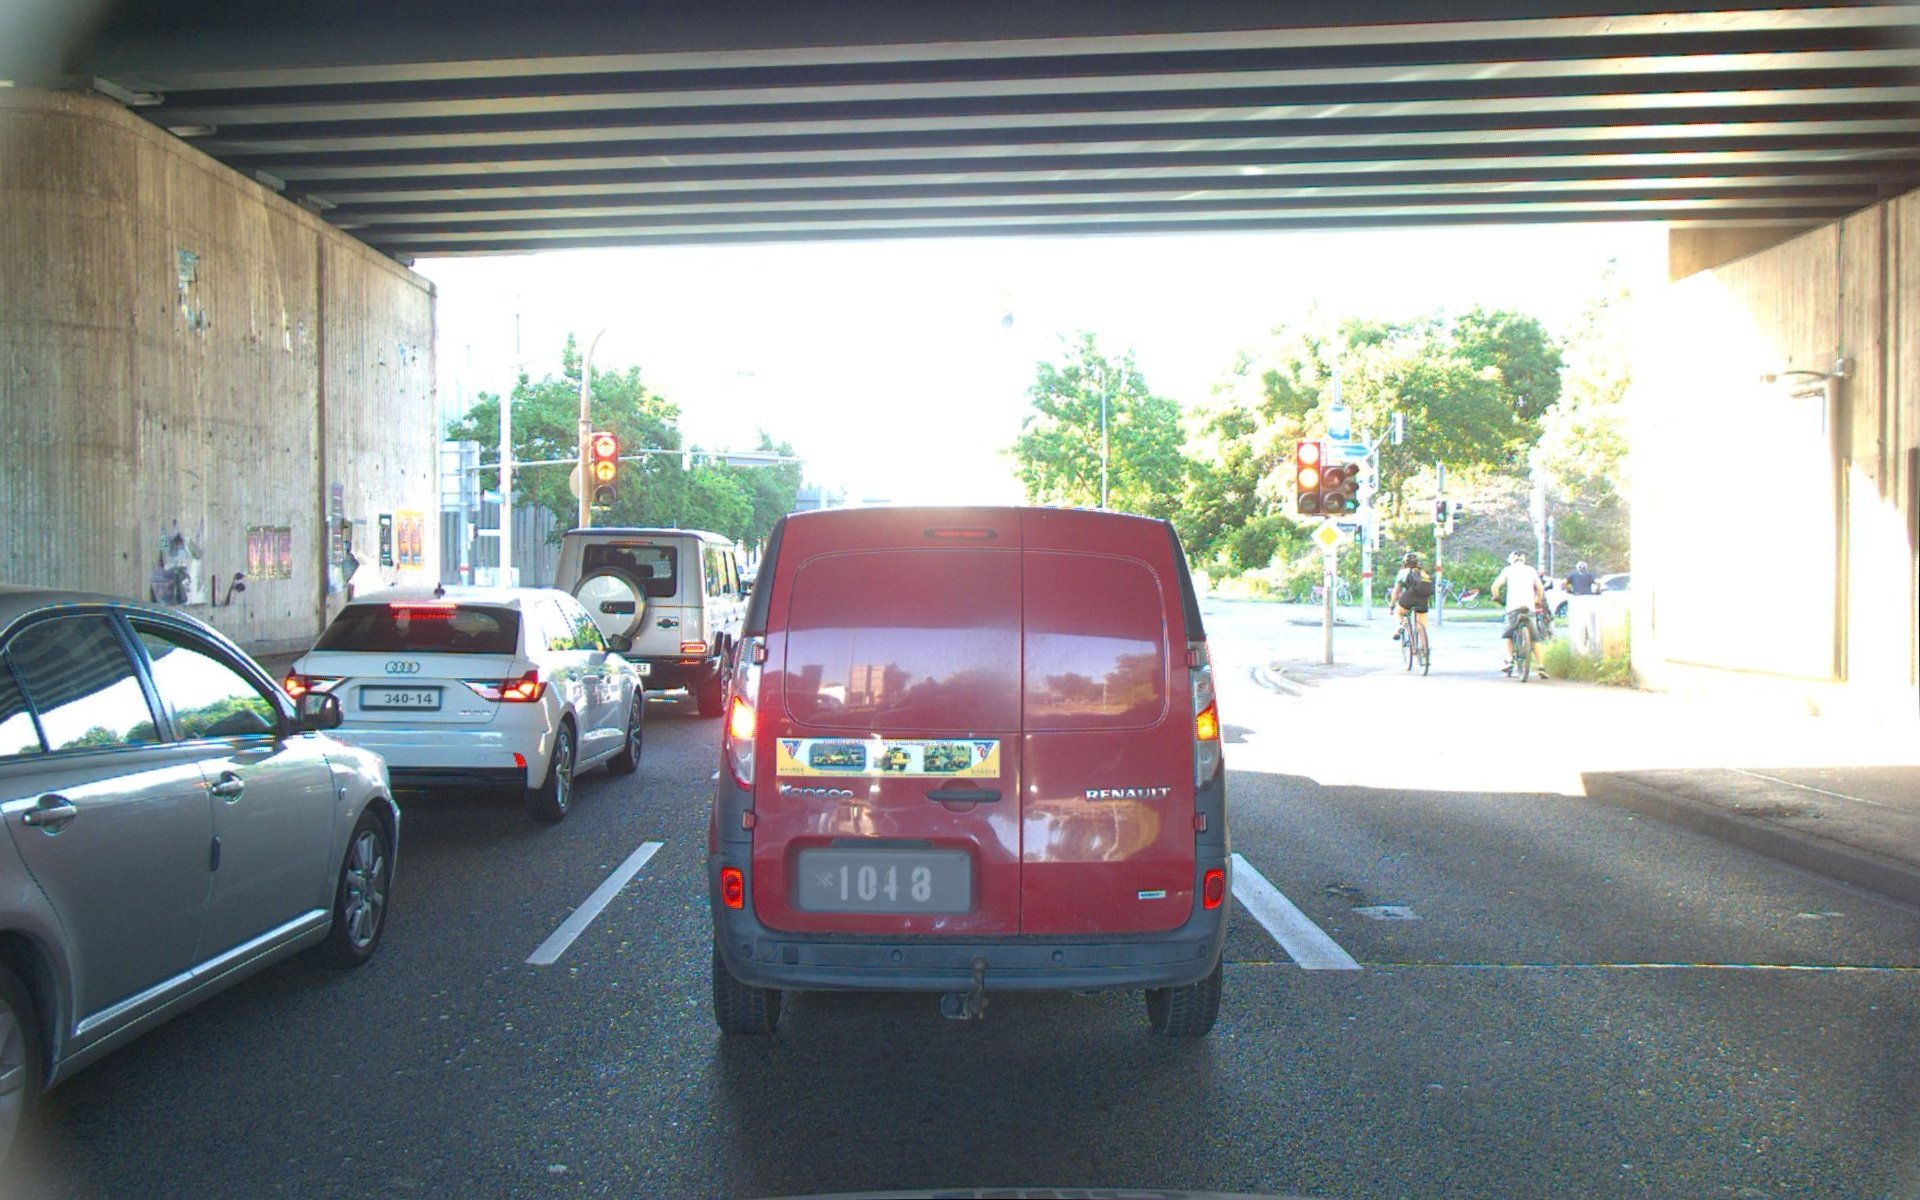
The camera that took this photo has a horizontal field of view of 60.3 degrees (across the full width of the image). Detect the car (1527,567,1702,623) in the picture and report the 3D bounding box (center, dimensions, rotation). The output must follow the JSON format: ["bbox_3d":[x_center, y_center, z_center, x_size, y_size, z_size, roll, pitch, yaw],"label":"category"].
[{"bbox_3d":[19.251,-0.151,48.798,4.451,1.540,1.829,1,0,6],"label":"car"}]

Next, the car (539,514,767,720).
[{"bbox_3d":[-3.334,0.179,18.814,1.764,2.023,4.588,1,0,-1],"label":"car"}]

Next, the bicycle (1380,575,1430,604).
[{"bbox_3d":[16.460,-0.387,61.239,1.707,1.041,0.594,1,0,8],"label":"bicycle"}]

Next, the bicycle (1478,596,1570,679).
[{"bbox_3d":[7.397,0.481,21.768,0.579,1.041,1.750,1,0,-1],"label":"bicycle"}]

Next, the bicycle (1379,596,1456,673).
[{"bbox_3d":[6.449,0.472,23.394,0.579,1.041,1.750,1,0,-1],"label":"bicycle"}]

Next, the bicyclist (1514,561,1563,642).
[{"bbox_3d":[10.951,0.031,31.323,0.651,1.500,0.751,1,-1,1],"label":"bicyclist"}]

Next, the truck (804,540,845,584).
[{"bbox_3d":[-9.934,-2.767,122.064,2.360,3.079,6.657,-2,1,0],"label":"truck"}]

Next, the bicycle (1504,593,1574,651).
[{"bbox_3d":[10.950,0.410,31.338,0.657,1.041,2.056,1,0,2],"label":"bicycle"}]

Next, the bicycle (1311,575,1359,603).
[{"bbox_3d":[14.200,-0.421,62.592,1.707,1.041,0.594,1,0,8],"label":"bicycle"}]

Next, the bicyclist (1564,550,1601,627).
[{"bbox_3d":[12.356,-0.235,32.836,0.635,1.506,0.618,1,1,17],"label":"bicyclist"}]

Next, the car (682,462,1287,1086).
[{"bbox_3d":[0.049,0.526,6.909,1.768,1.826,3.999,1,0,-1],"label":"car"}]

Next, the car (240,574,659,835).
[{"bbox_3d":[-3.263,0.574,11.342,1.777,1.463,3.730,1,1,-1],"label":"car"}]

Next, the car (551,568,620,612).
[{"bbox_3d":[-16.120,-0.450,71.378,1.787,1.768,4.630,-2,1,1],"label":"car"}]

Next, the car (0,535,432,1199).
[{"bbox_3d":[-3.018,0.602,4.843,1.698,1.506,4.317,0,0,-2],"label":"car"}]

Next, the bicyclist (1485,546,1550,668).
[{"bbox_3d":[7.374,0.092,21.884,0.580,1.575,0.769,1,-1,-1],"label":"bicyclist"}]

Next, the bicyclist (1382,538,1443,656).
[{"bbox_3d":[6.439,-0.037,23.541,0.580,1.642,0.942,1,0,-1],"label":"bicyclist"}]

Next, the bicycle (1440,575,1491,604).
[{"bbox_3d":[18.369,-0.385,60.118,1.707,1.041,0.594,1,0,10],"label":"bicycle"}]
